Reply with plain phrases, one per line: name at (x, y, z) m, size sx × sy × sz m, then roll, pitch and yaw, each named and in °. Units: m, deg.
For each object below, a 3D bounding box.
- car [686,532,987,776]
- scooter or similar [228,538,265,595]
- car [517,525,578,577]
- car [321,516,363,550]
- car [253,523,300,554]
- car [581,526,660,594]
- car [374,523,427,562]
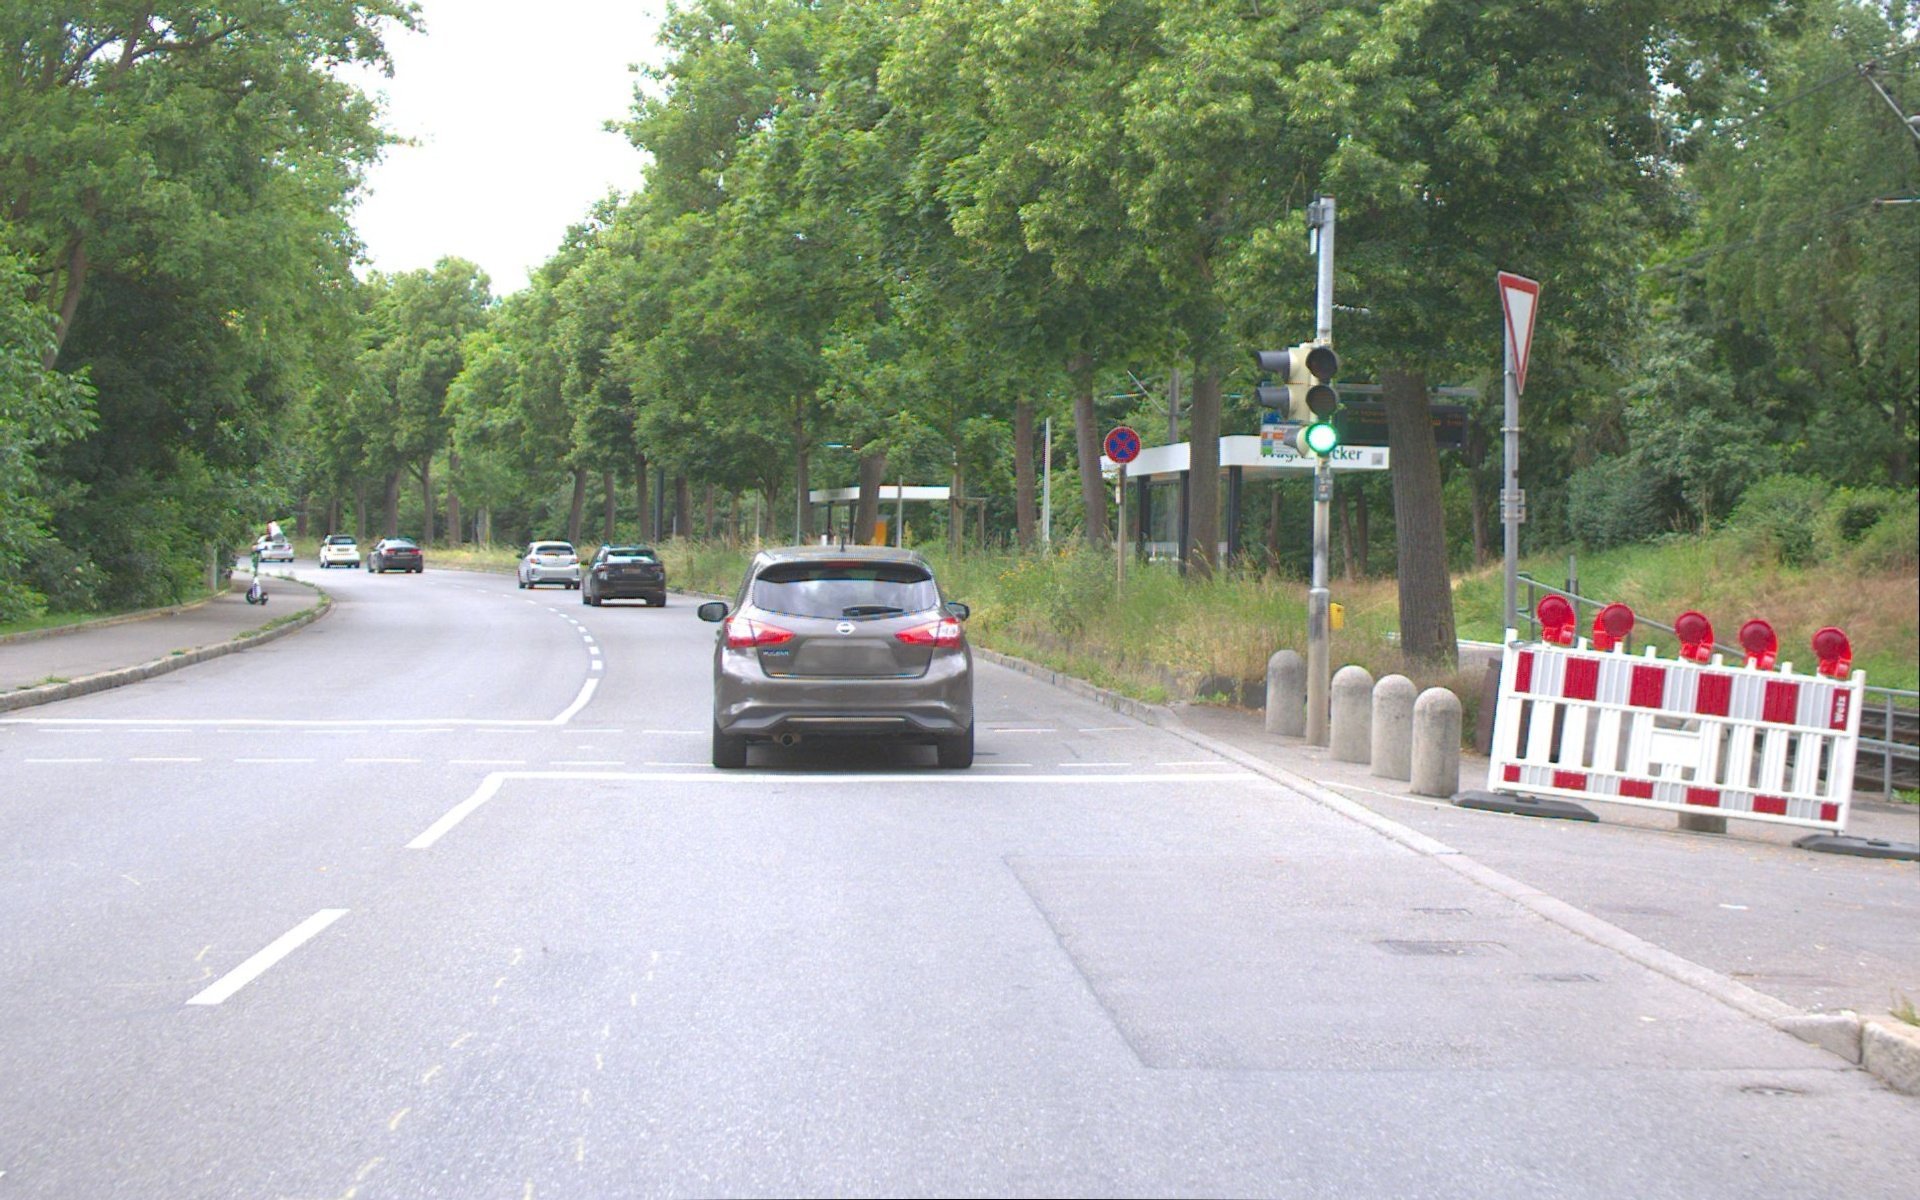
car at (-0.961, 0.319, 24.465) m, size 1.815 × 1.503 × 4.001 m, roll 0°, pitch 2°, yaw -7°
scooter or similar at (-15.327, -0.717, 73.825) m, size 0.364 × 1.180 × 1.298 m, roll 2°, pitch 1°, yaw -29°
car at (-12.879, -1.546, 107.359) m, size 1.775 × 1.467 × 4.001 m, roll 3°, pitch 1°, yaw -7°
car at (-29.041, -3.151, 161.435) m, size 1.775 × 1.467 × 4.002 m, roll 2°, pitch 2°, yaw -12°
car at (-36.046, -3.244, 181.228) m, size 1.775 × 1.467 × 4.002 m, roll 3°, pitch 1°, yaw -20°
car at (-8.105, -0.971, 82.319) m, size 1.775 × 1.467 × 4.001 m, roll 3°, pitch 1°, yaw -5°
car at (-23.669, -2.442, 145.408) m, size 1.775 × 1.467 × 4.002 m, roll 5°, pitch 1°, yaw -14°
